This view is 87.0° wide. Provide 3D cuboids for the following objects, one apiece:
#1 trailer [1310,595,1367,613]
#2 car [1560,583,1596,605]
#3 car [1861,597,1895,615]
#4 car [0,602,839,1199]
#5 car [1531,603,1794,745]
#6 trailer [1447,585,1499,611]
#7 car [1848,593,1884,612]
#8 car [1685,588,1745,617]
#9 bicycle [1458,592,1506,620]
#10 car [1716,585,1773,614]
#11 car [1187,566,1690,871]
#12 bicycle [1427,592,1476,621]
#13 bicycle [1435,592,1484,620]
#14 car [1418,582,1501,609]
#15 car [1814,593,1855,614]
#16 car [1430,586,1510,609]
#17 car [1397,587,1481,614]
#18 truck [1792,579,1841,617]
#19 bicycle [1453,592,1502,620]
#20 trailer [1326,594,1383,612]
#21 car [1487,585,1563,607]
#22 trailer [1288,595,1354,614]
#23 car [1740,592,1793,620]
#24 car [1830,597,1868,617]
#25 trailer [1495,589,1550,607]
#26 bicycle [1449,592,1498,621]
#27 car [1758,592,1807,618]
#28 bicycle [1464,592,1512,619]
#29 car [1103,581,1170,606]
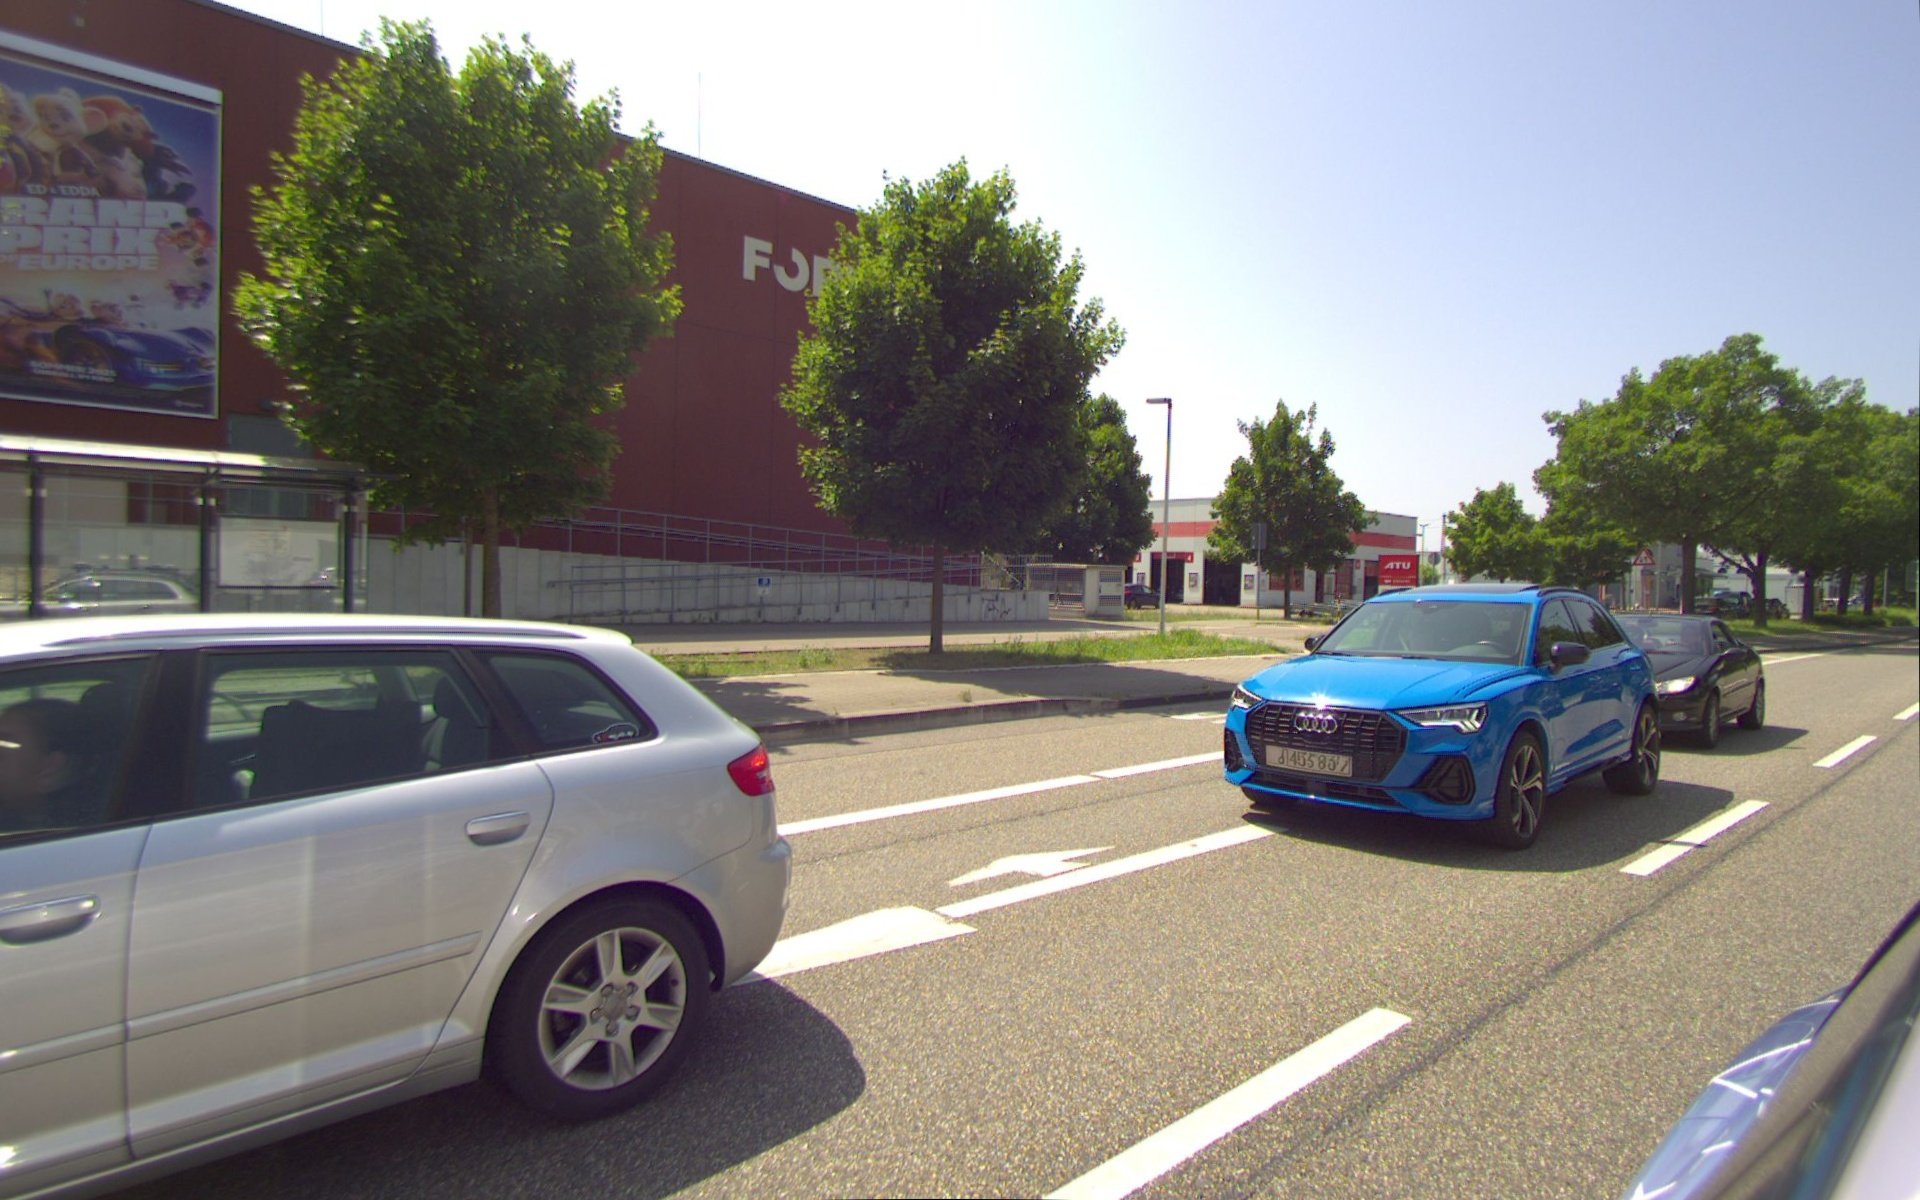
[{"bbox_3d":[17.623,0.167,47.165,1.244,0.771,2.137,0,2,-39],"label":"trailer"},{"bbox_3d":[48.311,-0.464,79.108,1.753,1.616,3.940,2,2,42],"label":"car"},{"bbox_3d":[79.961,0.485,88.134,3.930,1.485,1.719,0,2,-41],"label":"car"},{"bbox_3d":[-2.451,0.703,2.639,4.022,1.379,1.714,0,0,-43],"label":"car"},{"bbox_3d":[8.178,0.716,11.657,3.931,1.361,1.640,0,-1,-42],"label":"car"},{"bbox_3d":[33.108,-0.140,65.317,1.391,1.546,2.638,0,2,-43],"label":"trailer"},{"bbox_3d":[75.261,0.189,84.071,3.930,1.485,1.719,0,2,-41],"label":"car"},{"bbox_3d":[38.822,0.109,51.991,3.930,1.388,1.641,0,2,-41],"label":"car"},{"bbox_3d":[22.745,0.255,44.148,1.779,1.138,0.506,3,1,43],"label":"bicycle"},{"bbox_3d":[43.445,-0.035,56.005,3.930,1.485,1.719,0,2,-41],"label":"car"},{"bbox_3d":[3.734,0.609,7.506,4.324,1.616,1.840,0,1,-42],"label":"car"},{"bbox_3d":[20.633,0.256,42.488,1.779,1.138,0.506,3,1,43],"label":"bicycle"},{"bbox_3d":[21.147,0.242,42.834,1.779,1.138,0.506,3,1,43],"label":"bicycle"},{"bbox_3d":[29.123,-0.291,59.078,1.718,1.419,3.991,0,2,-44],"label":"car"},{"bbox_3d":[64.692,0.231,74.859,3.930,1.485,1.719,0,2,-41],"label":"car"},{"bbox_3d":[30.643,-0.183,60.877,1.718,1.223,3.991,0,2,-44],"label":"car"},{"bbox_3d":[27.331,0.008,57.794,1.718,1.419,3.992,0,2,-43],"label":"car"},{"bbox_3d":[60.279,-0.139,71.209,3.929,2.599,1.904,0,1,-40],"label":"truck"},{"bbox_3d":[22.278,0.236,43.608,1.779,1.138,0.506,3,1,43],"label":"bicycle"},{"bbox_3d":[18.813,0.146,48.249,1.369,0.771,2.137,0,2,-39],"label":"trailer"},{"bbox_3d":[36.409,-0.279,65.253,1.662,1.317,3.991,0,2,-44],"label":"car"},{"bbox_3d":[16.362,0.190,45.890,1.423,0.771,2.467,0,2,-39],"label":"trailer"},{"bbox_3d":[47.284,0.330,59.327,3.930,1.539,1.719,0,2,-41],"label":"car"},{"bbox_3d":[69.656,0.558,79.270,3.930,1.485,1.719,0,2,-41],"label":"car"},{"bbox_3d":[35.144,-0.129,63.227,1.552,1.065,2.638,0,2,-43],"label":"trailer"},{"bbox_3d":[21.869,0.277,43.117,1.779,1.138,0.506,3,1,43],"label":"bicycle"},{"bbox_3d":[51.660,0.300,63.544,3.930,1.532,1.719,0,2,-41],"label":"car"},{"bbox_3d":[23.332,0.246,44.718,1.779,1.138,0.506,3,1,43],"label":"bicycle"},{"bbox_3d":[10.442,-0.356,59.651,4.074,1.390,1.716,0,2,-42],"label":"car"}]
